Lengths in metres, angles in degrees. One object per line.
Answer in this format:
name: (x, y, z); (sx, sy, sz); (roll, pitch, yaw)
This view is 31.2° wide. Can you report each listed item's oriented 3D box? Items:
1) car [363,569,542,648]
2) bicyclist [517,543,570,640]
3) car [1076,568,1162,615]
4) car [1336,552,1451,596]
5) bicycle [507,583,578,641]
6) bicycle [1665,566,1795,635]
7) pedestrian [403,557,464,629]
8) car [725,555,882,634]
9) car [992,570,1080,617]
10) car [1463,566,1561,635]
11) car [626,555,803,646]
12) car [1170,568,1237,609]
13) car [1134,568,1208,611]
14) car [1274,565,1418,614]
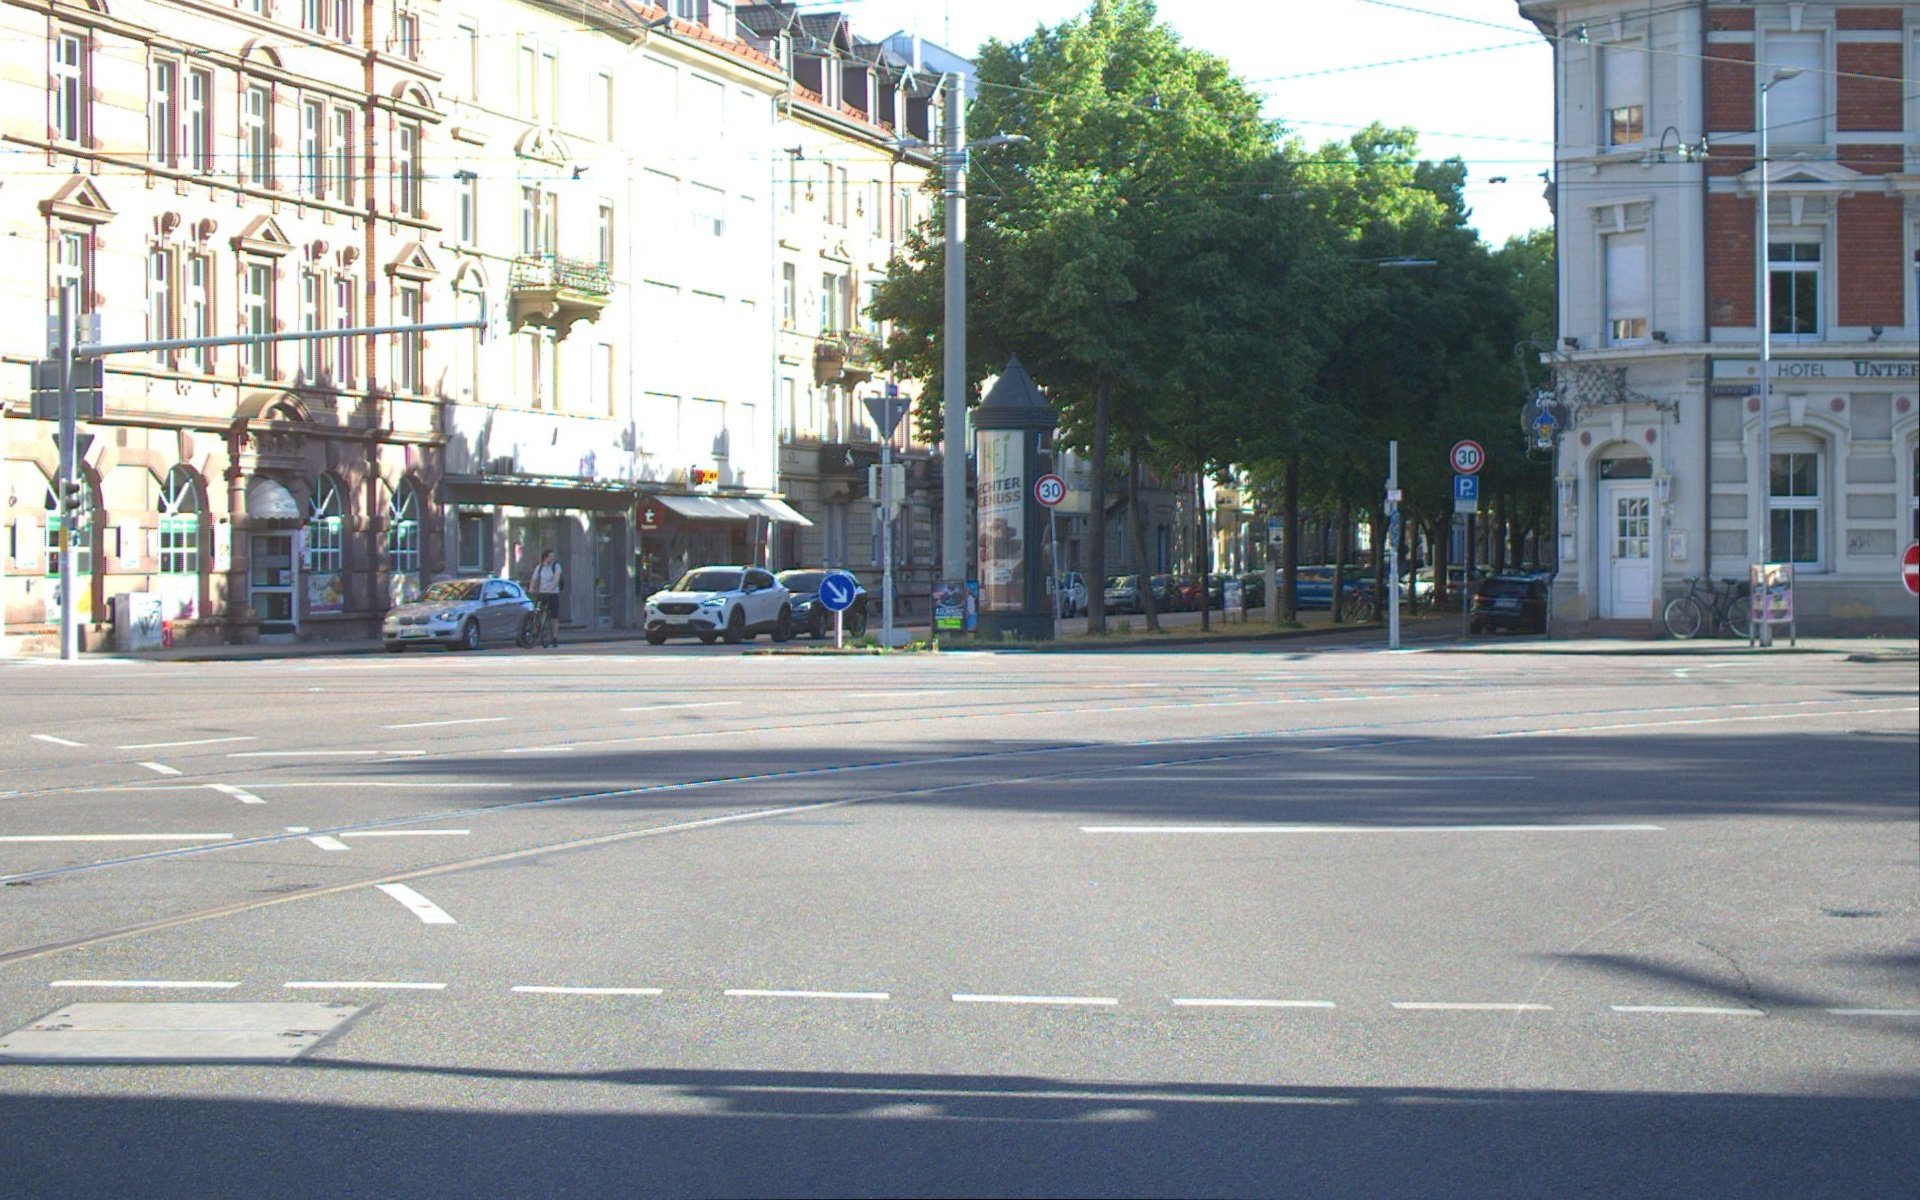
car: (-9.853, 0.146, 67.063); (1.900, 1.450, 3.997); (0, 1, 17)
bicyclist: (-7.879, -0.165, 65.060); (0.679, 1.814, 1.070); (0, 1, 12)
car: (5.700, -0.301, 122.679); (1.995, 1.606, 4.387); (0, 1, 17)
car: (16.854, -1.015, 133.639); (3.993, 1.700, 1.997); (0, 1, 30)
bicycle: (-7.889, 0.215, 65.024); (0.680, 1.062, 2.124); (0, 1, 12)
bicycle: (12.857, 0.010, 57.405); (2.085, 1.120, 0.367); (1, 0, -4)
pedestrian: (-11.302, -0.155, 73.866); (0.929, 1.530, 1.136); (0, 1, 14)
car: (-3.319, -0.137, 73.852); (1.995, 1.606, 4.387); (0, 1, 17)
car: (2.481, -0.225, 110.977); (1.995, 1.481, 3.998); (0, 1, 14)
car: (13.267, -0.011, 82.456); (1.995, 1.579, 3.998); (0, 1, 14)
car: (-4.764, -0.019, 67.338); (1.995, 1.678, 4.387); (0, 1, 17)
car: (9.692, -0.470, 136.346); (1.766, 1.544, 4.387); (0, 1, 16)
car: (8.026, -0.421, 130.469); (1.839, 1.547, 4.387); (0, 1, 17)
car: (12.953, -0.370, 115.252); (4.382, 1.606, 1.997); (0, 1, 27)
